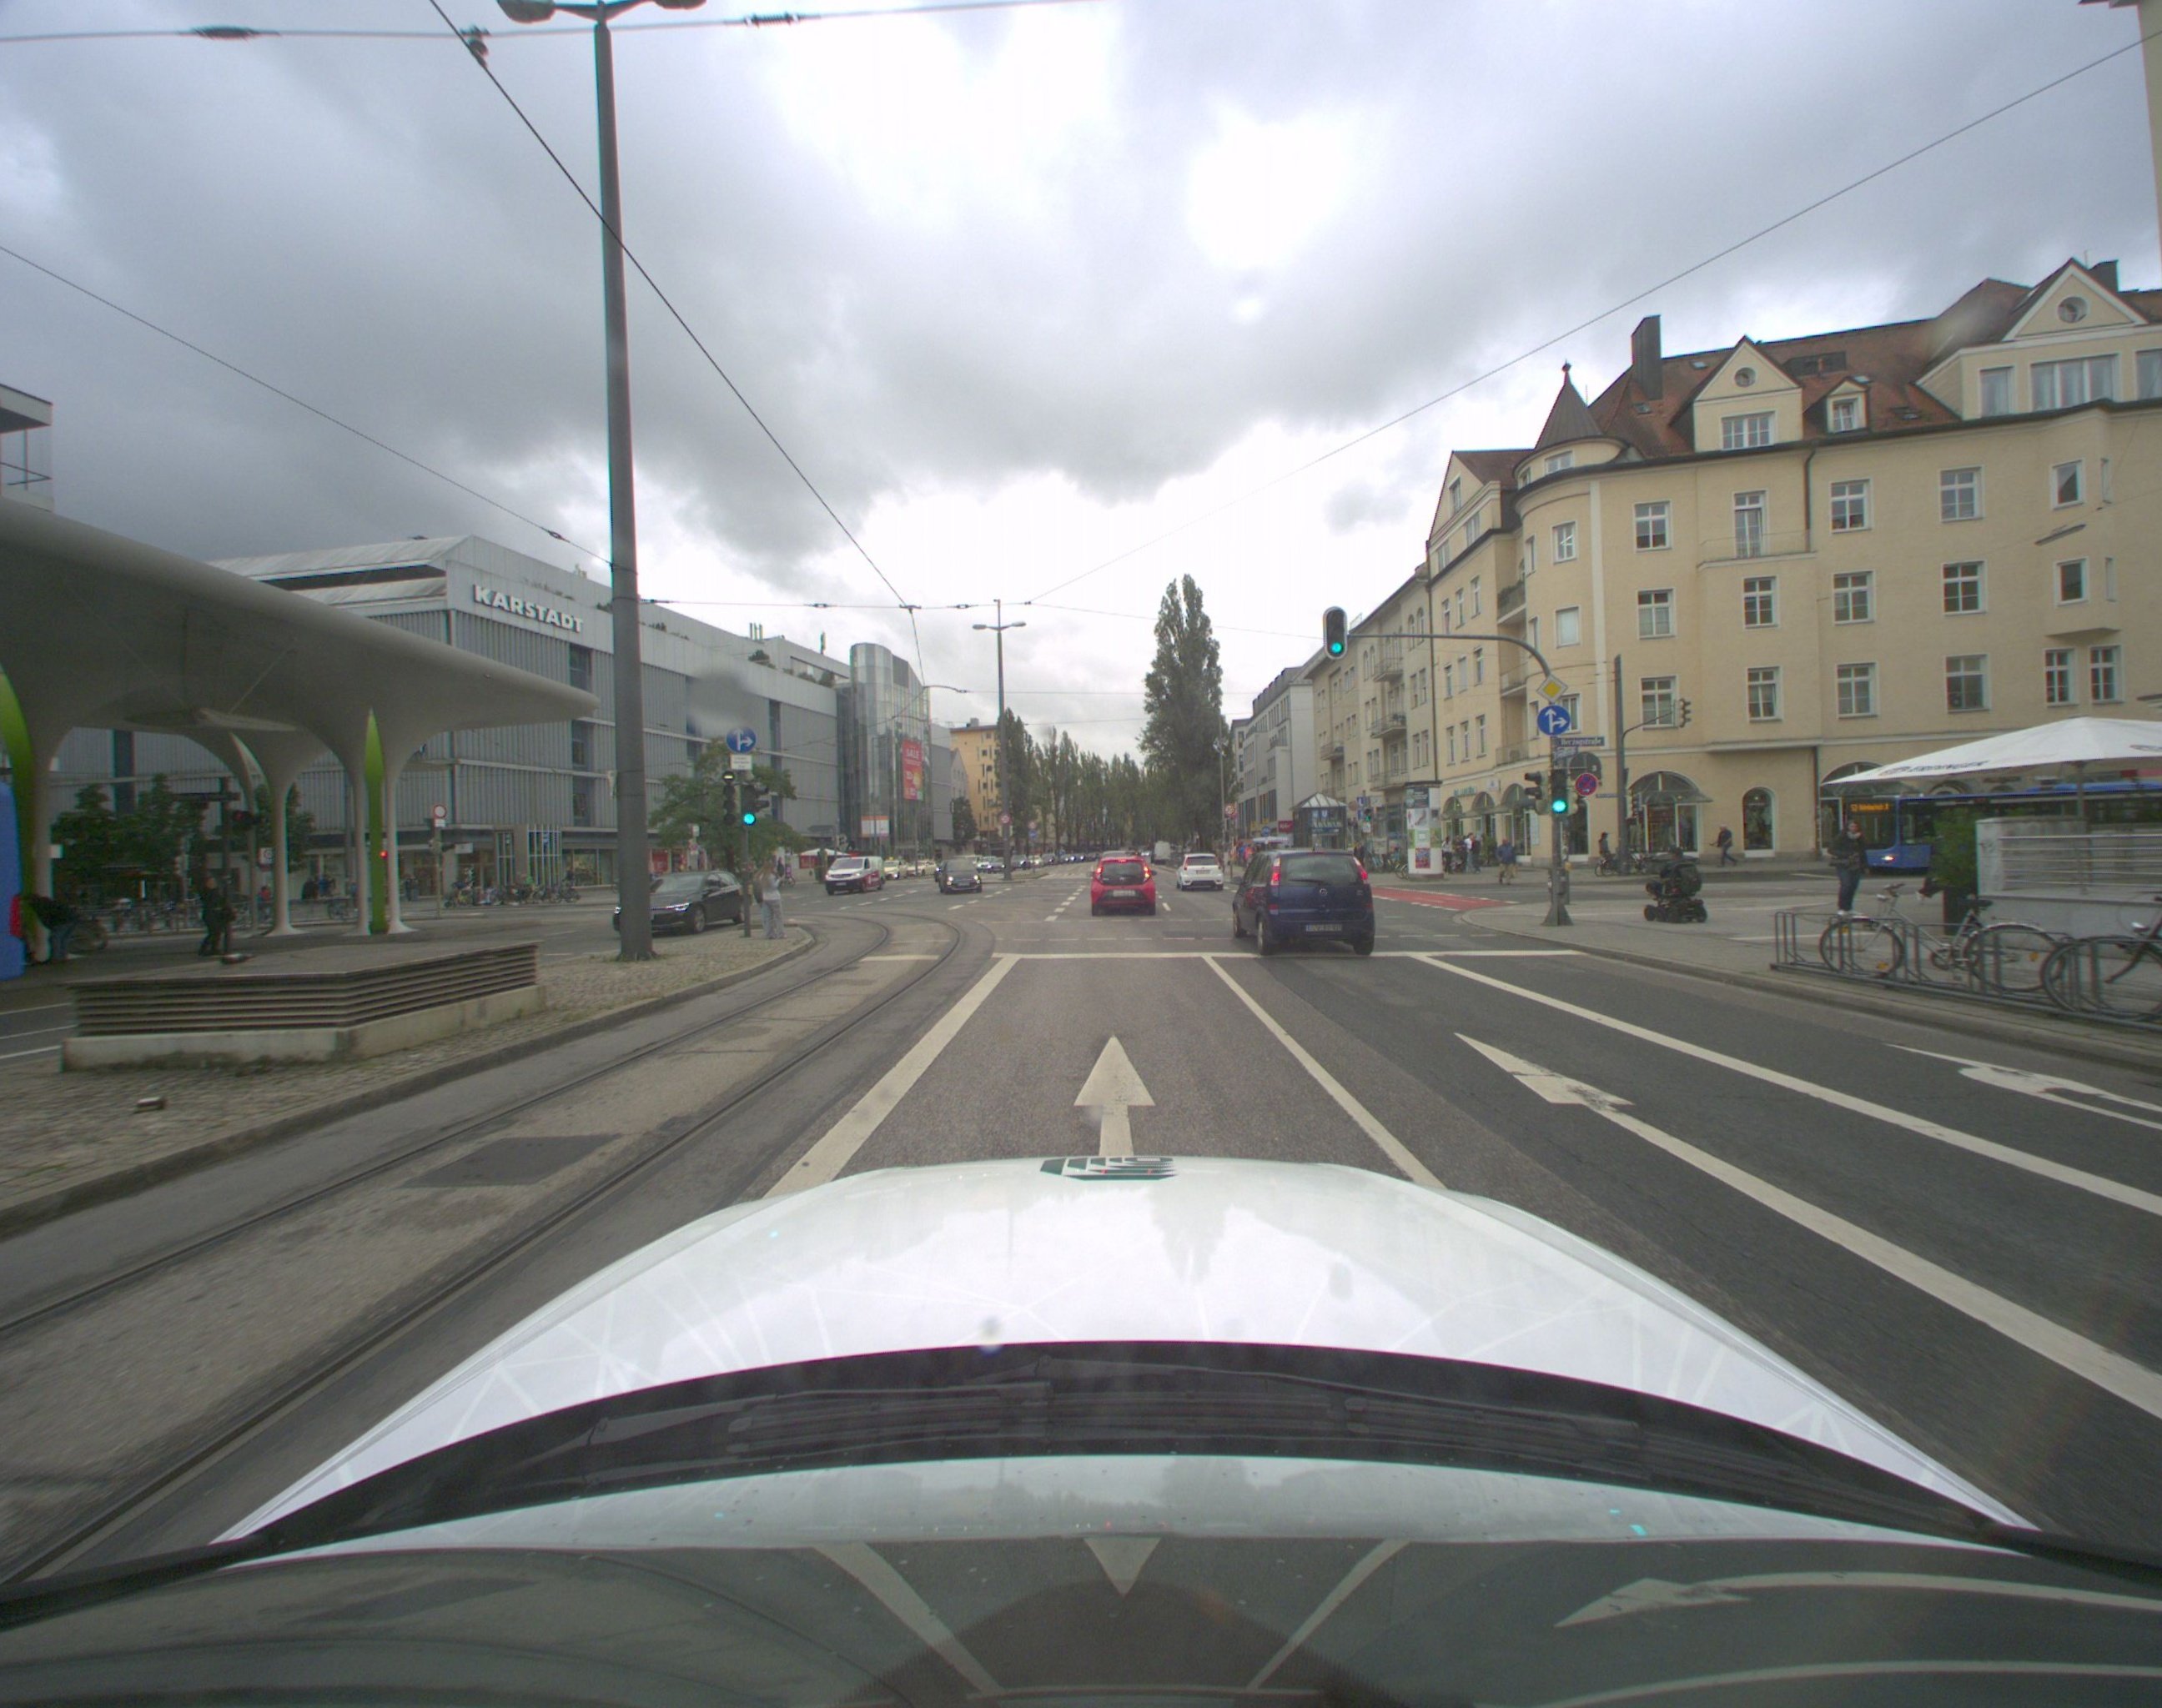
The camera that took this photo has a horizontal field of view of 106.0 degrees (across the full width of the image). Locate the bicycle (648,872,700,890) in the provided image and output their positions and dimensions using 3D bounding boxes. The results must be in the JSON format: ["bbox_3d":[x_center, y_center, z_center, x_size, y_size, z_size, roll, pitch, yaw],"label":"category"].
[{"bbox_3d":[-29.134,1.961,58.266,3.468,1.156,1.064,-2,0,14],"label":"bicycle"}]

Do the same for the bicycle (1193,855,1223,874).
[{"bbox_3d":[8.021,0.652,51.404,1.782,1.158,0.551,-2,0,40],"label":"bicycle"}]

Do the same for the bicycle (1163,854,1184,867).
[{"bbox_3d":[8.426,0.624,73.831,1.814,1.136,0.590,-2,0,38],"label":"bicycle"}]

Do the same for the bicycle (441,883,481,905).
[{"bbox_3d":[-32.270,2.079,42.404,0.582,1.111,1.895,-2,-2,3],"label":"bicycle"}]

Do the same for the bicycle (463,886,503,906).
[{"bbox_3d":[-31.037,2.172,42.294,0.525,0.998,1.987,-2,-2,3],"label":"bicycle"}]

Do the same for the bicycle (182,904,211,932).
[{"bbox_3d":[-32.220,2.308,29.673,0.457,0.939,1.711,-1,-2,-38],"label":"bicycle"}]

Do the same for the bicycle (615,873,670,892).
[{"bbox_3d":[-29.851,1.961,55.436,3.468,1.156,1.064,-2,0,14],"label":"bicycle"}]

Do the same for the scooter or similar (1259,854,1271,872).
[{"bbox_3d":[11.935,0.581,52.760,0.297,1.176,1.285,-2,0,32],"label":"scooter or similar"}]

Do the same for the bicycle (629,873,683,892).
[{"bbox_3d":[-29.548,1.961,56.642,3.468,1.156,1.064,-2,0,14],"label":"bicycle"}]

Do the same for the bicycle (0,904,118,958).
[{"bbox_3d":[-24.914,1.832,19.604,0.637,1.124,2.172,-2,0,11],"label":"bicycle"}]

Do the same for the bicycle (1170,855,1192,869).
[{"bbox_3d":[8.262,0.676,67.412,1.815,1.136,0.590,-2,0,45],"label":"bicycle"}]

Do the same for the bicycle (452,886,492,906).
[{"bbox_3d":[-31.660,2.169,42.381,0.525,0.998,1.987,-2,-2,3],"label":"bicycle"}]

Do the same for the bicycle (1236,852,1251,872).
[{"bbox_3d":[10.881,0.541,54.631,0.611,1.265,2.521,-2,0,3],"label":"bicycle"}]

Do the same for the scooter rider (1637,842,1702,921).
[{"bbox_3d":[10.832,0.496,15.009,0.698,1.389,0.643,-2,0,0],"label":"scooter rider"}]

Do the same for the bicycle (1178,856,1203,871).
[{"bbox_3d":[8.009,0.702,59.735,1.782,1.111,0.566,-2,0,44],"label":"bicycle"}]

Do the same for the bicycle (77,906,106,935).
[{"bbox_3d":[-34.242,2.301,28.185,0.458,0.939,1.709,-1,-2,-44],"label":"bicycle"}]

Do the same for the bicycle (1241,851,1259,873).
[{"bbox_3d":[10.049,0.447,48.554,0.611,1.265,2.521,-2,0,3],"label":"bicycle"}]

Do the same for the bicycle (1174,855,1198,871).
[{"bbox_3d":[8.048,0.668,62.492,1.815,1.168,0.590,-2,0,45],"label":"bicycle"}]

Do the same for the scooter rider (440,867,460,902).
[{"bbox_3d":[-33.457,1.615,43.179,0.609,1.839,0.552,-2,0,-19],"label":"scooter rider"}]

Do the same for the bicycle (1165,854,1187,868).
[{"bbox_3d":[8.317,0.626,71.102,1.814,1.136,0.590,-2,0,38],"label":"bicycle"}]

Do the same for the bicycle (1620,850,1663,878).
[{"bbox_3d":[21.608,0.385,31.408,1.580,1.033,0.356,-2,0,-13],"label":"bicycle"}]

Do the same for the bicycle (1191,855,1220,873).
[{"bbox_3d":[8.093,0.652,52.896,1.782,1.158,0.490,-2,0,28],"label":"bicycle"}]

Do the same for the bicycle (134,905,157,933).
[{"bbox_3d":[-33.283,2.304,28.988,1.709,0.939,0.458,-3,-2,44],"label":"bicycle"}]

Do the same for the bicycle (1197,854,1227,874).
[{"bbox_3d":[8.026,0.641,50.010,0.562,1.198,1.782,-2,0,-45],"label":"bicycle"}]

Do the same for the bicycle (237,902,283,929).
[{"bbox_3d":[-30.802,2.300,30.583,0.455,0.939,1.721,-2,-1,-17],"label":"bicycle"}]

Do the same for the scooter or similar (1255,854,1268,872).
[{"bbox_3d":[11.756,0.581,53.129,0.360,1.176,1.356,-2,0,32],"label":"scooter or similar"}]

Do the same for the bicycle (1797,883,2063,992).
[{"bbox_3d":[8.560,0.811,8.318,0.350,0.996,1.819,-2,-1,-44],"label":"bicycle"}]

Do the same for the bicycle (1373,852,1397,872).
[{"bbox_3d":[14.978,0.388,40.152,0.492,0.975,1.867,-2,0,2],"label":"bicycle"}]

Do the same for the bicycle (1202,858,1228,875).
[{"bbox_3d":[7.966,0.752,48.494,0.502,1.028,1.582,-2,0,-40],"label":"bicycle"}]

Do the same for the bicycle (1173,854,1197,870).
[{"bbox_3d":[8.105,0.650,63.273,1.815,1.197,0.590,-2,0,45],"label":"bicycle"}]

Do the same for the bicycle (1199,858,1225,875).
[{"bbox_3d":[7.923,0.749,49.352,0.502,1.028,1.582,-2,0,-40],"label":"bicycle"}]

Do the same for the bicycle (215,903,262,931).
[{"bbox_3d":[-31.131,2.299,30.119,0.455,0.939,1.719,-2,-1,-19],"label":"bicycle"}]

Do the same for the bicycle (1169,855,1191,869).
[{"bbox_3d":[8.274,0.682,68.174,1.815,1.136,0.590,-2,0,45],"label":"bicycle"}]

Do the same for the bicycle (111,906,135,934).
[{"bbox_3d":[-33.746,2.303,28.694,1.709,0.939,0.458,-3,-2,44],"label":"bicycle"}]

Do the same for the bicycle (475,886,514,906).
[{"bbox_3d":[-30.440,2.175,42.291,0.525,0.998,1.987,-2,-2,3],"label":"bicycle"}]

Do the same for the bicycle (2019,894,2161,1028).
[{"bbox_3d":[8.525,0.813,6.161,0.350,0.996,1.819,-2,-1,-44],"label":"bicycle"}]

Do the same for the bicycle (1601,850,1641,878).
[{"bbox_3d":[21.228,0.382,32.020,1.580,1.033,0.247,-2,0,-13],"label":"bicycle"}]

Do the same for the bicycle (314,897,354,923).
[{"bbox_3d":[-28.933,2.151,31.564,0.455,0.939,1.720,-2,-1,-18],"label":"bicycle"}]

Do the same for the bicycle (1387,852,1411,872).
[{"bbox_3d":[15.655,0.391,40.137,0.492,0.975,1.867,-2,0,2],"label":"bicycle"}]

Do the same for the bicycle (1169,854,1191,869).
[{"bbox_3d":[8.389,0.629,68.838,1.815,1.241,0.590,-2,0,45],"label":"bicycle"}]

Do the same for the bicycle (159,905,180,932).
[{"bbox_3d":[-32.702,2.307,29.225,1.709,0.939,0.458,-3,-2,44],"label":"bicycle"}]

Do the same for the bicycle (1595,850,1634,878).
[{"bbox_3d":[21.155,0.382,32.276,1.580,1.033,0.247,-2,0,-13],"label":"bicycle"}]

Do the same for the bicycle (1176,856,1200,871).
[{"bbox_3d":[8.034,0.700,61.163,1.782,1.111,0.590,-2,0,45],"label":"bicycle"}]

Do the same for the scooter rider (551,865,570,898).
[{"bbox_3d":[-29.738,1.541,46.554,0.665,1.835,0.618,-2,0,-9],"label":"scooter rider"}]

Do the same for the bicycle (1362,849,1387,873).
[{"bbox_3d":[14.478,0.335,40.184,0.564,1.107,1.867,-2,0,2],"label":"bicycle"}]
